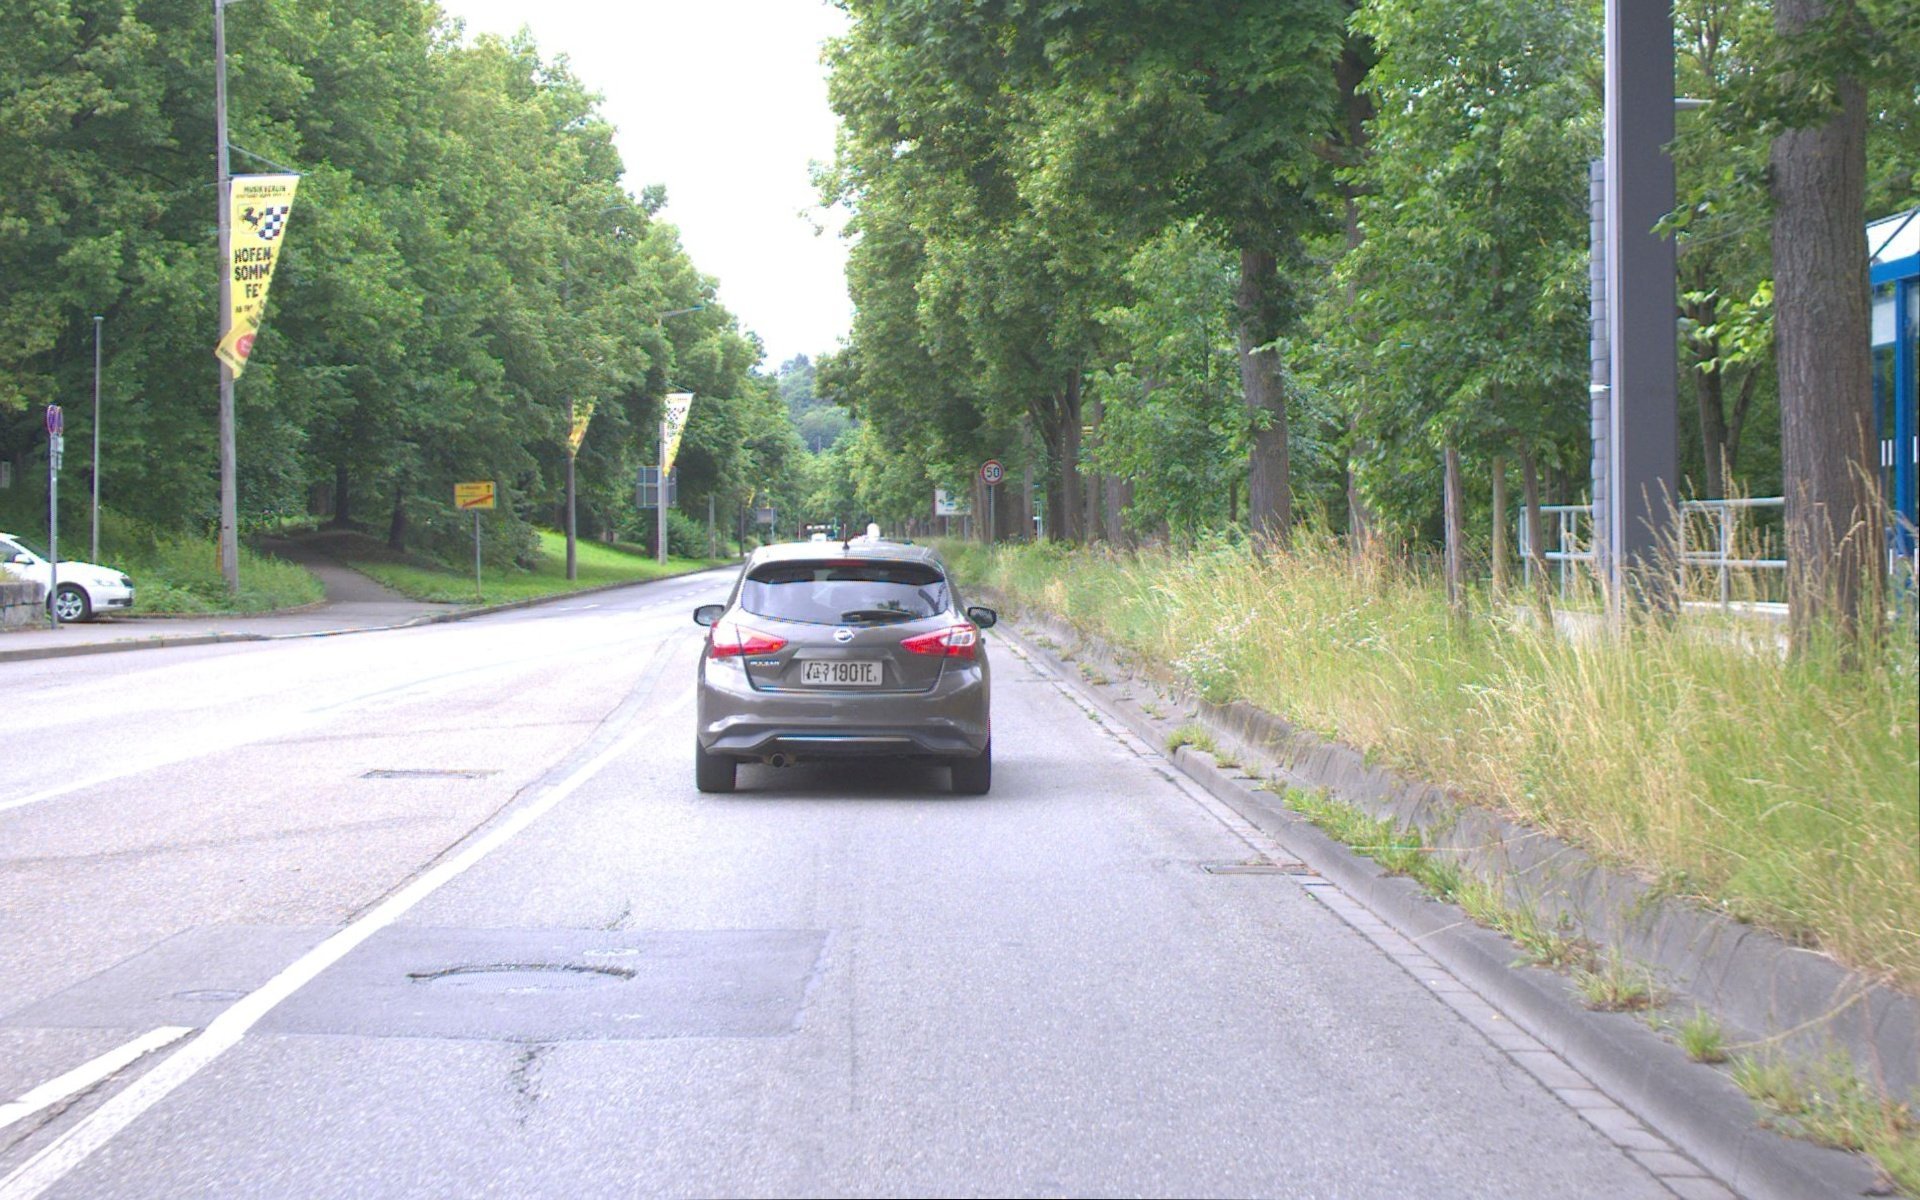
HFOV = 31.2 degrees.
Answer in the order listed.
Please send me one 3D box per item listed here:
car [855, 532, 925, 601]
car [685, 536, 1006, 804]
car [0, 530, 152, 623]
[{"bbox_3d":[-1.608,-0.786,80.019,1.503,1.523,3.671,1,1,0],"label":"car"},{"bbox_3d":[-0.650,0.384,21.878,1.837,1.523,3.929,1,1,0],"label":"car"},{"bbox_3d":[-15.717,-0.427,56.644,4.374,1.436,1.962,2,1,-3],"label":"car"}]
